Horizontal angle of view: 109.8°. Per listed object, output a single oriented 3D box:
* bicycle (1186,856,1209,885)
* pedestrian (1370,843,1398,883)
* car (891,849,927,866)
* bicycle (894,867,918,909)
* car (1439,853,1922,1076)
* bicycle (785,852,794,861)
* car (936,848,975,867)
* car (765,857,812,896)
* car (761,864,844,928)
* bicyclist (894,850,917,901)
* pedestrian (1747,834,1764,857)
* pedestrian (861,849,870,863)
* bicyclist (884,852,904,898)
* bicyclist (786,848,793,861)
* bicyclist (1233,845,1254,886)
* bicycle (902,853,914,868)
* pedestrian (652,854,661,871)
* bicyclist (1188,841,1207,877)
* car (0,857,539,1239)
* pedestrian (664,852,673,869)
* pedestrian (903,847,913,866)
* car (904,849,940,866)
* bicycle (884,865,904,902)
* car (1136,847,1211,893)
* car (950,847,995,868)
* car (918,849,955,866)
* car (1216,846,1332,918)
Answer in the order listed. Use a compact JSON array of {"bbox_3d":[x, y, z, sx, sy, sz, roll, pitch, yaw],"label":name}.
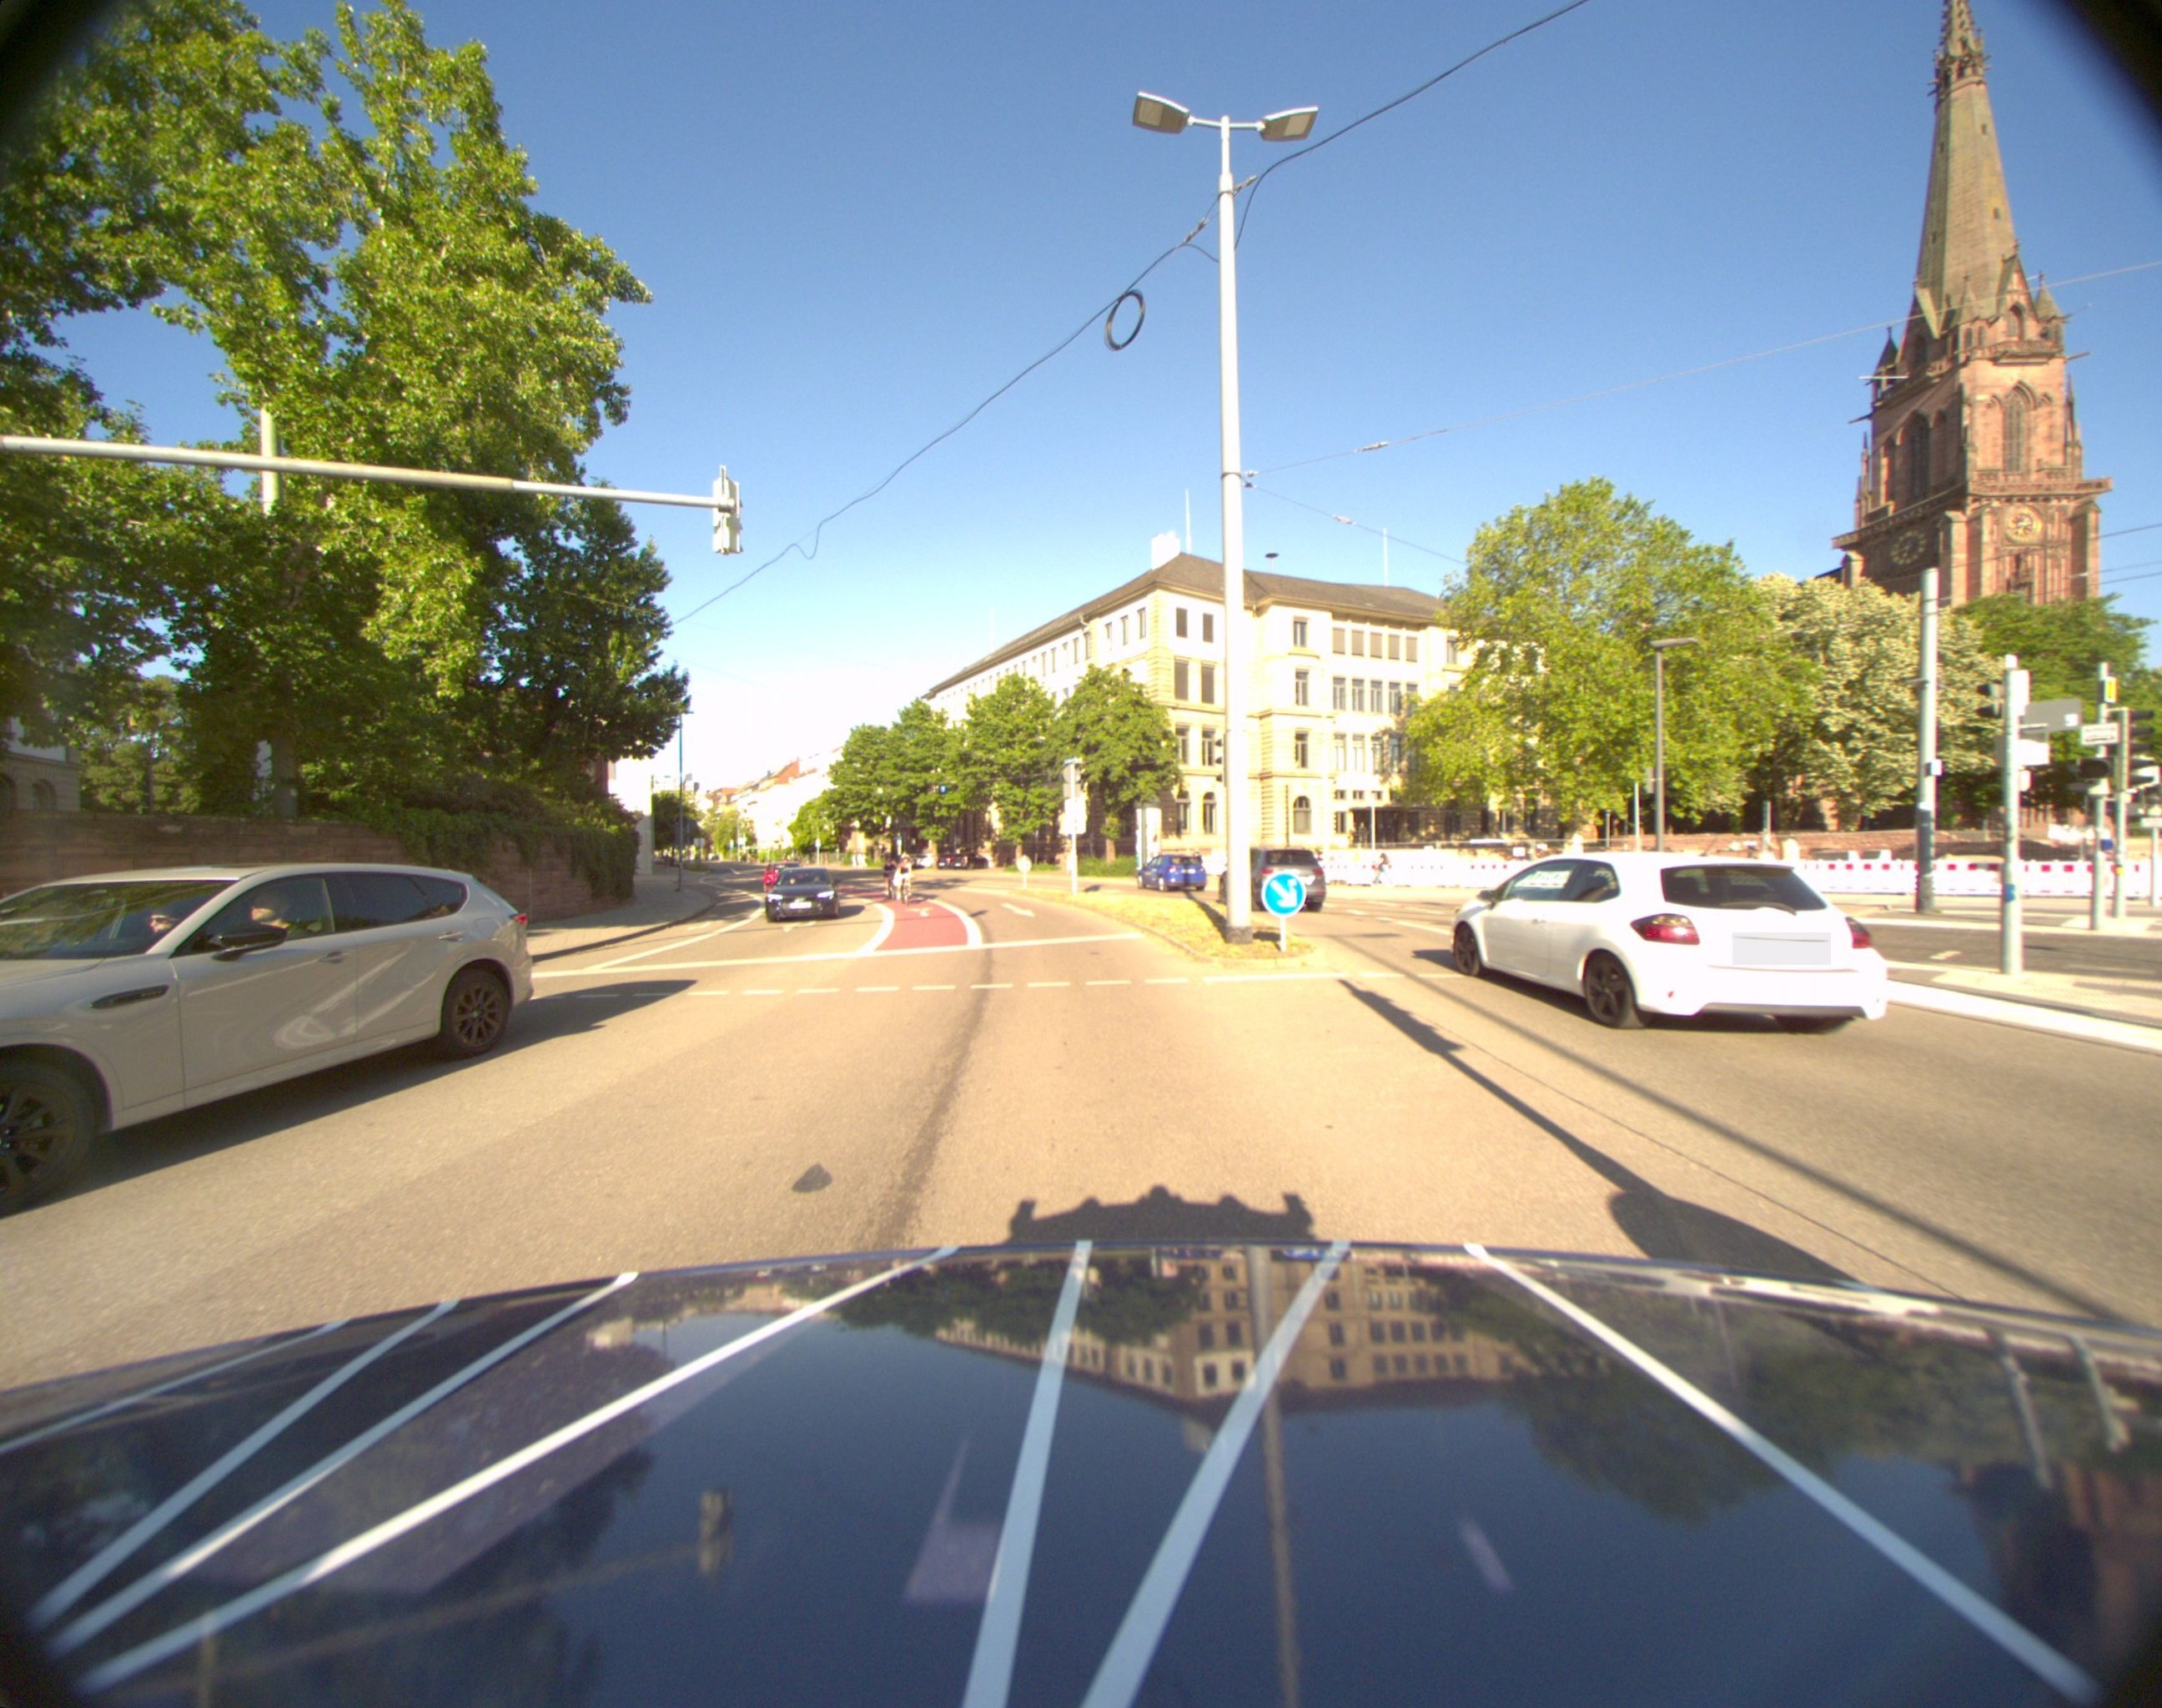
[{"bbox_3d":[5.401,0.728,35.288,0.676,1.243,2.456,2,1,1],"label":"bicycle"},{"bbox_3d":[13.306,0.384,33.368,0.898,1.687,0.712,3,3,42],"label":"pedestrian"},{"bbox_3d":[-17.741,0.330,78.658,1.646,1.552,3.655,-2,2,25],"label":"car"},{"bbox_3d":[-5.780,1.076,25.020,0.677,1.243,2.453,-1,1,-15],"label":"bicycle"},{"bbox_3d":[5.213,0.796,7.422,1.698,1.551,3.980,-1,1,3],"label":"car"},{"bbox_3d":[-39.082,0.338,101.840,0.677,1.243,2.450,-1,1,-31],"label":"bicycle"},{"bbox_3d":[-11.401,0.308,69.006,1.646,1.552,3.655,-2,2,25],"label":"car"},{"bbox_3d":[-13.246,0.967,34.341,1.652,1.552,3.642,-3,2,-25],"label":"car"},{"bbox_3d":[-7.636,1.078,21.146,1.790,1.425,3.994,-3,2,-16],"label":"car"},{"bbox_3d":[-5.777,0.701,25.000,0.676,1.638,1.028,-1,1,-16],"label":"bicyclist"},{"bbox_3d":[48.608,-0.584,54.790,0.638,1.638,0.675,-1,1,-9],"label":"pedestrian"},{"bbox_3d":[-25.065,0.263,88.356,0.677,1.638,0.815,-2,2,-31],"label":"pedestrian"},{"bbox_3d":[-6.850,0.759,27.819,0.676,1.638,1.028,-1,1,-14],"label":"bicyclist"},{"bbox_3d":[-39.038,0.041,101.777,0.677,1.638,1.026,-1,1,-31],"label":"bicyclist"},{"bbox_3d":[6.555,0.444,30.712,0.710,1.648,0.743,-1,1,1],"label":"bicyclist"},{"bbox_3d":[-15.524,0.583,68.146,0.677,1.243,2.452,-2,1,-22],"label":"bicycle"},{"bbox_3d":[-41.356,0.828,74.059,0.677,1.638,0.815,-2,2,-31],"label":"pedestrian"},{"bbox_3d":[5.418,0.216,35.358,0.710,1.648,0.901,2,1,1],"label":"bicyclist"},{"bbox_3d":[-6.075,0.965,4.841,1.945,1.683,4.529,-2,2,-1],"label":"car"},{"bbox_3d":[-40.500,0.619,74.634,0.677,1.638,0.815,-2,2,-31],"label":"pedestrian"},{"bbox_3d":[-15.539,0.214,68.168,0.676,1.638,0.816,-2,1,-22],"label":"pedestrian"},{"bbox_3d":[-15.818,0.343,75.767,1.646,1.552,3.655,-2,2,25],"label":"car"},{"bbox_3d":[-6.847,1.041,27.820,0.676,1.243,2.453,-1,1,-14],"label":"bicycle"},{"bbox_3d":[3.603,0.587,30.216,1.743,1.565,3.919,1,2,-12],"label":"car"},{"bbox_3d":[-9.496,0.308,66.918,1.841,1.622,4.187,-2,2,25],"label":"car"},{"bbox_3d":[-14.063,0.327,74.080,1.646,1.552,3.655,-2,2,25],"label":"car"},{"bbox_3d":[4.999,0.638,20.388,1.766,1.696,4.528,1,1,-3],"label":"car"}]
